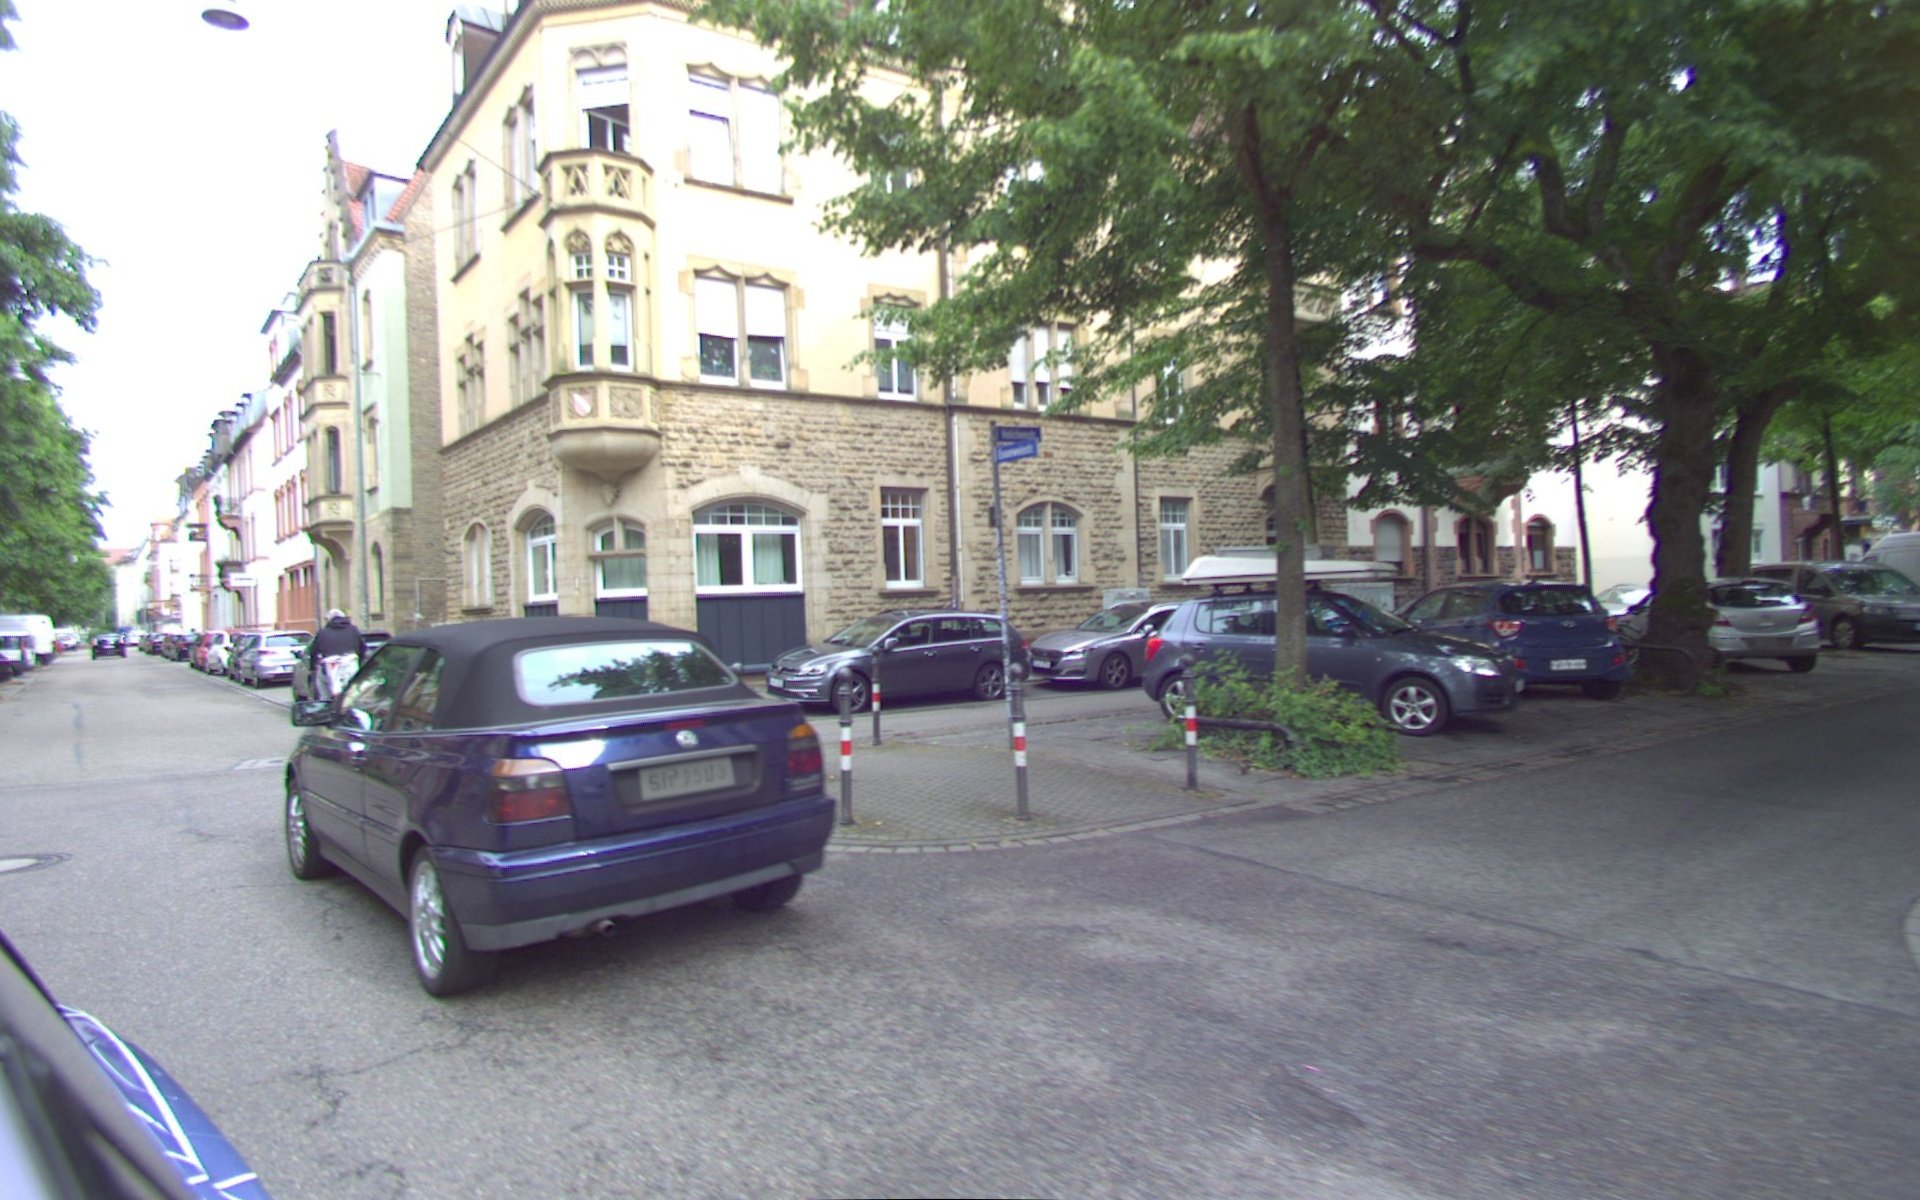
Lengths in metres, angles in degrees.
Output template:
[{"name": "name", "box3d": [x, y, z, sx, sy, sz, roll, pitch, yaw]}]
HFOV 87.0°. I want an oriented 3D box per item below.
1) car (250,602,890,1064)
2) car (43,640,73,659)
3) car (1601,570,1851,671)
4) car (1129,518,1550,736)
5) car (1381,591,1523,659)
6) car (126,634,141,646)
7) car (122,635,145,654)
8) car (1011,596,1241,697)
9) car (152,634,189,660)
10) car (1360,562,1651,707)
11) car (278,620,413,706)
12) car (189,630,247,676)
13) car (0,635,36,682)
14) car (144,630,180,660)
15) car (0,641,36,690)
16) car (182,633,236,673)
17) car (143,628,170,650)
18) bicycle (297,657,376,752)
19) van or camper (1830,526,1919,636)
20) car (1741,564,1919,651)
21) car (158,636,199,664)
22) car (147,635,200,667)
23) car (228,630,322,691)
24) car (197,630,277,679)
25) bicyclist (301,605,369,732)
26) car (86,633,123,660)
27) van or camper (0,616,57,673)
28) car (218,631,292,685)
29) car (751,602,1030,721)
[{"name": "car", "box3d": [-2.249, 0.753, 5.180, 1.688, 1.424, 3.856, -1, 0, -44]}, {"name": "car", "box3d": [-91.419, 5.013, 102.584, 1.968, 1.763, 4.007, -3, 0, -39]}, {"name": "car", "box3d": [12.534, 0.308, 16.879, 1.759, 1.492, 3.649, -1, 0, 9]}, {"name": "car", "box3d": [4.085, 0.291, 11.146, 3.954, 1.983, 1.811, -2, 0, 37]}, {"name": "car", "box3d": [11.754, 0.551, 24.142, 3.334, 1.359, 1.583, -2, 3, -34]}, {"name": "car", "box3d": [-106.959, 5.215, 130.928, 1.435, 1.420, 3.817, -4, 1, -39]}, {"name": "car", "box3d": [-96.359, 5.168, 117.982, 2.022, 2.099, 3.817, -4, 0, -40]}, {"name": "car", "box3d": [3.128, 0.769, 18.731, 4.214, 1.477, 1.667, -2, 3, -34]}, {"name": "car", "box3d": [-48.284, 2.858, 61.863, 1.587, 1.483, 3.347, -2, 0, -41]}, {"name": "car", "box3d": [6.964, 0.324, 13.382, 1.629, 1.527, 3.618, -2, 3, -5]}, {"name": "car", "box3d": [-12.362, 1.213, 20.256, 1.706, 1.444, 3.888, -4, 1, -40]}, {"name": "car", "box3d": [-27.914, 1.958, 38.036, 1.447, 1.541, 3.574, -4, 1, -41]}, {"name": "car", "box3d": [-39.146, 2.369, 39.698, 3.932, 1.825, 1.725, -2, 0, -30]}, {"name": "car", "box3d": [-53.767, 3.031, 68.134, 1.816, 1.874, 4.007, -2, 0, -39]}, {"name": "car", "box3d": [-32.836, 2.242, 33.082, 1.777, 1.574, 3.438, -3, 0, 27]}, {"name": "car", "box3d": [-30.681, 2.153, 41.325, 1.447, 1.427, 3.924, -4, 1, -41]}, {"name": "car", "box3d": [-57.696, 2.789, 72.651, 1.435, 1.420, 3.817, -4, 1, -39]}, {"name": "bicycle", "box3d": [-7.973, 1.292, 12.909, 0.626, 1.102, 1.802, -1, -2, -39]}, {"name": "van or camper", "box3d": [22.706, -0.472, 22.904, 2.051, 2.480, 5.282, -2, 0, 10]}, {"name": "car", "box3d": [17.522, 0.089, 19.760, 1.734, 1.529, 3.756, -1, 1, 3]}, {"name": "car", "box3d": [-44.035, 2.779, 57.001, 1.635, 1.393, 3.477, -4, 1, -41]}, {"name": "car", "box3d": [-39.228, 2.518, 50.458, 1.876, 1.401, 4.006, -3, 0, -41]}, {"name": "car", "box3d": [-18.745, 1.620, 27.637, 1.570, 1.444, 3.814, -4, 1, -42]}, {"name": "car", "box3d": [-24.995, 1.852, 34.958, 1.647, 1.522, 3.556, -3, 0, -45]}, {"name": "bicyclist", "box3d": [-7.965, 0.854, 12.892, 0.639, 1.550, 0.678, -1, -1, -38]}, {"name": "car", "box3d": [-56.577, 3.034, 66.963, 1.787, 1.642, 4.215, -2, 0, -39]}, {"name": "van or camper", "box3d": [-45.985, 2.133, 47.488, 2.057, 2.610, 5.038, -2, 0, 19]}, {"name": "car", "box3d": [-21.696, 1.750, 31.101, 1.498, 1.444, 3.461, -4, 1, -40]}, {"name": "car", "box3d": [-1.046, 0.888, 16.263, 4.214, 1.477, 1.667, -2, 3, -34]}]
